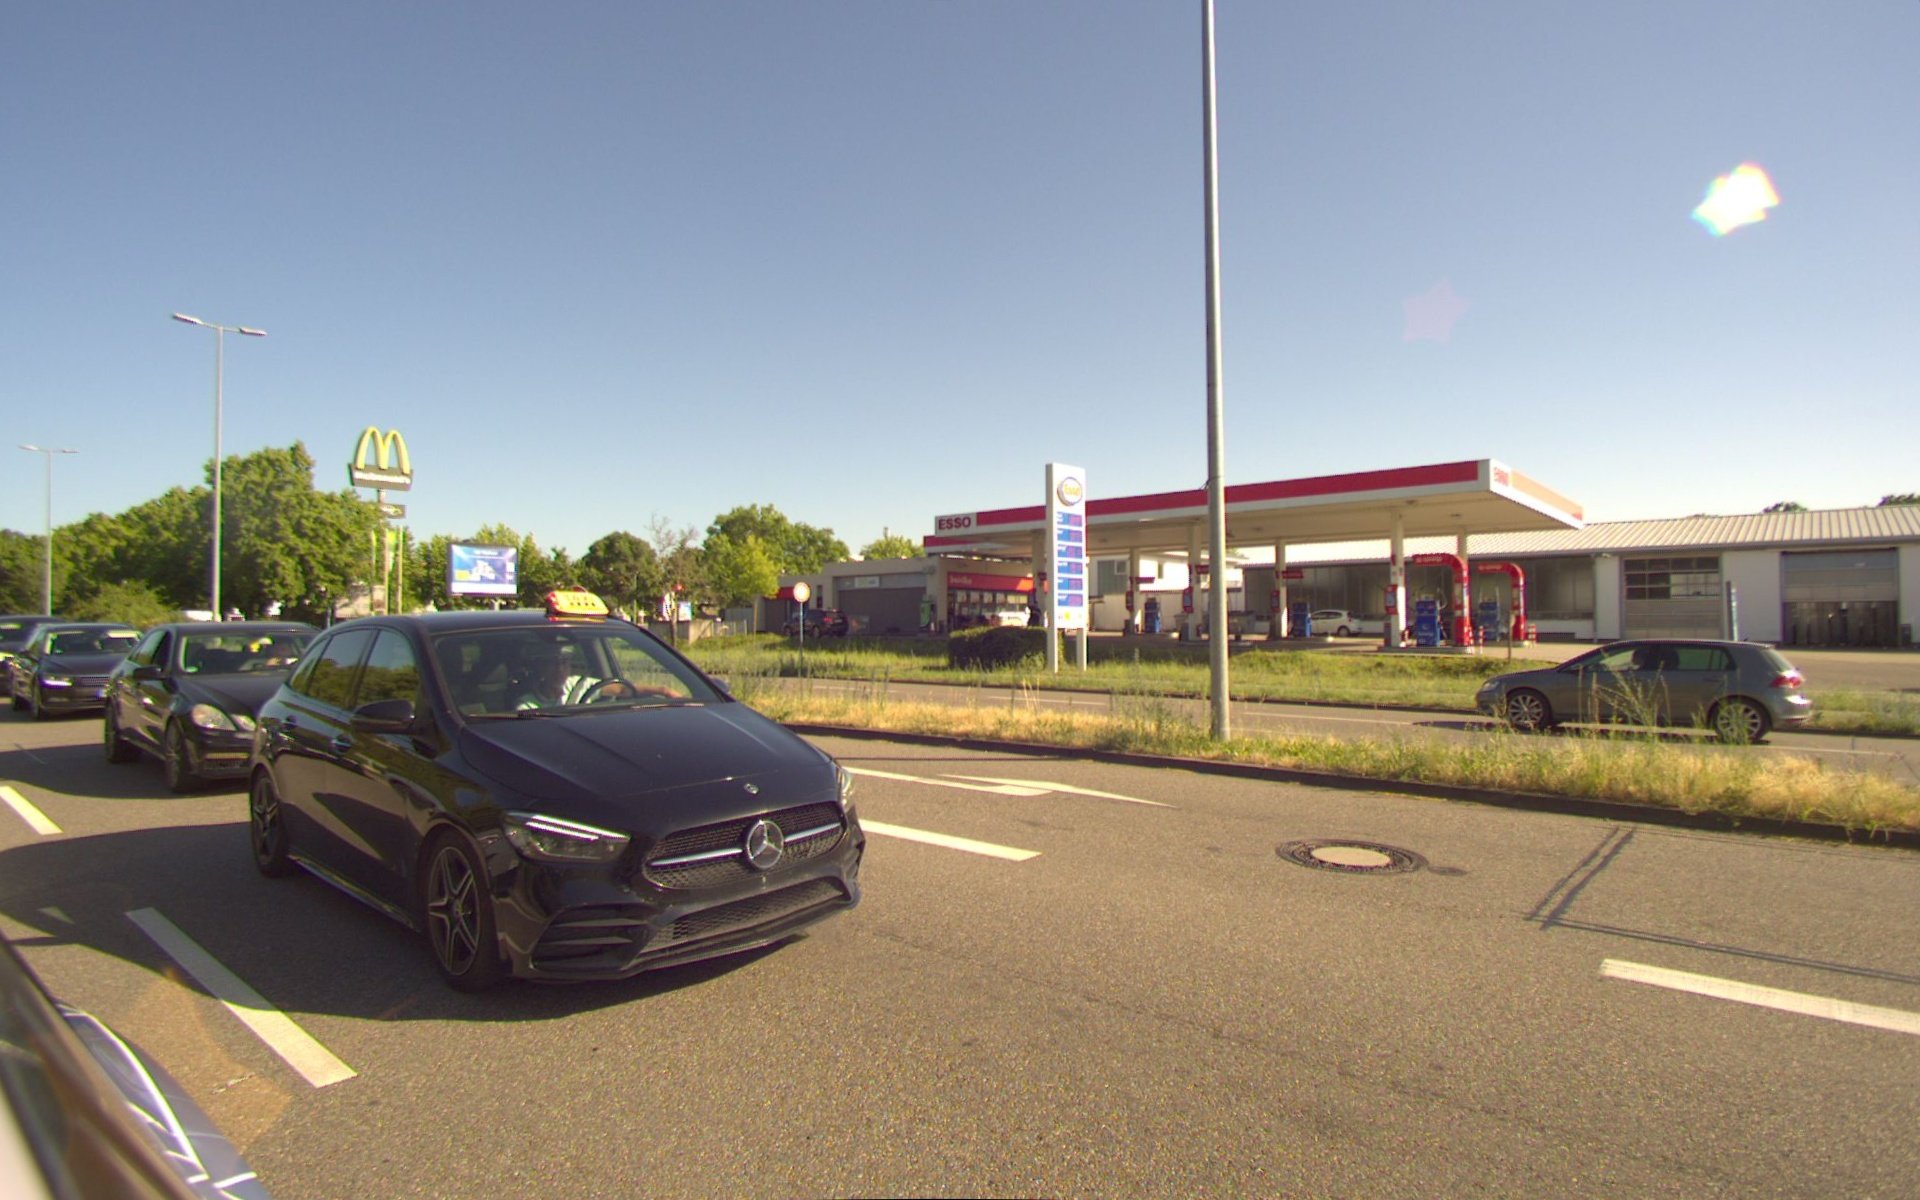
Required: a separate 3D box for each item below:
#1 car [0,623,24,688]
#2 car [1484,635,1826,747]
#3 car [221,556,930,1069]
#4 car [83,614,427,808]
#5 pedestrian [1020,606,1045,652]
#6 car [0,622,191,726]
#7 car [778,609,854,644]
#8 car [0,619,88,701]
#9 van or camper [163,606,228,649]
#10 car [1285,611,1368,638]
[{"bbox_3d":[-25.649,1.400,26.033,4.401,1.600,1.838,-2,-2,41],"label":"car"},{"bbox_3d":[10.331,1.274,15.216,4.048,1.440,1.800,-2,-4,41],"label":"car"},{"bbox_3d":[-2.281,0.733,5.326,4.187,1.638,1.780,-2,-2,42],"label":"car"},{"bbox_3d":[-7.221,0.936,10.182,4.401,1.535,1.838,-2,-2,41],"label":"car"},{"bbox_3d":[3.185,1.285,44.757,0.840,2.029,0.694,-2,-2,41],"label":"pedestrian"},{"bbox_3d":[-14.422,1.129,16.761,4.401,1.492,1.838,-2,-2,41],"label":"car"},{"bbox_3d":[-7.866,1.434,55.062,4.117,1.783,1.972,-2,-1,43],"label":"car"},{"bbox_3d":[-20.177,1.231,21.552,4.401,1.600,1.838,-2,-2,41],"label":"car"},{"bbox_3d":[-48.307,1.730,63.882,6.754,2.592,2.154,-1,-2,43],"label":"van or camper"},{"bbox_3d":[19.851,1.332,54.857,3.844,1.450,1.730,-2,-2,39],"label":"car"}]
